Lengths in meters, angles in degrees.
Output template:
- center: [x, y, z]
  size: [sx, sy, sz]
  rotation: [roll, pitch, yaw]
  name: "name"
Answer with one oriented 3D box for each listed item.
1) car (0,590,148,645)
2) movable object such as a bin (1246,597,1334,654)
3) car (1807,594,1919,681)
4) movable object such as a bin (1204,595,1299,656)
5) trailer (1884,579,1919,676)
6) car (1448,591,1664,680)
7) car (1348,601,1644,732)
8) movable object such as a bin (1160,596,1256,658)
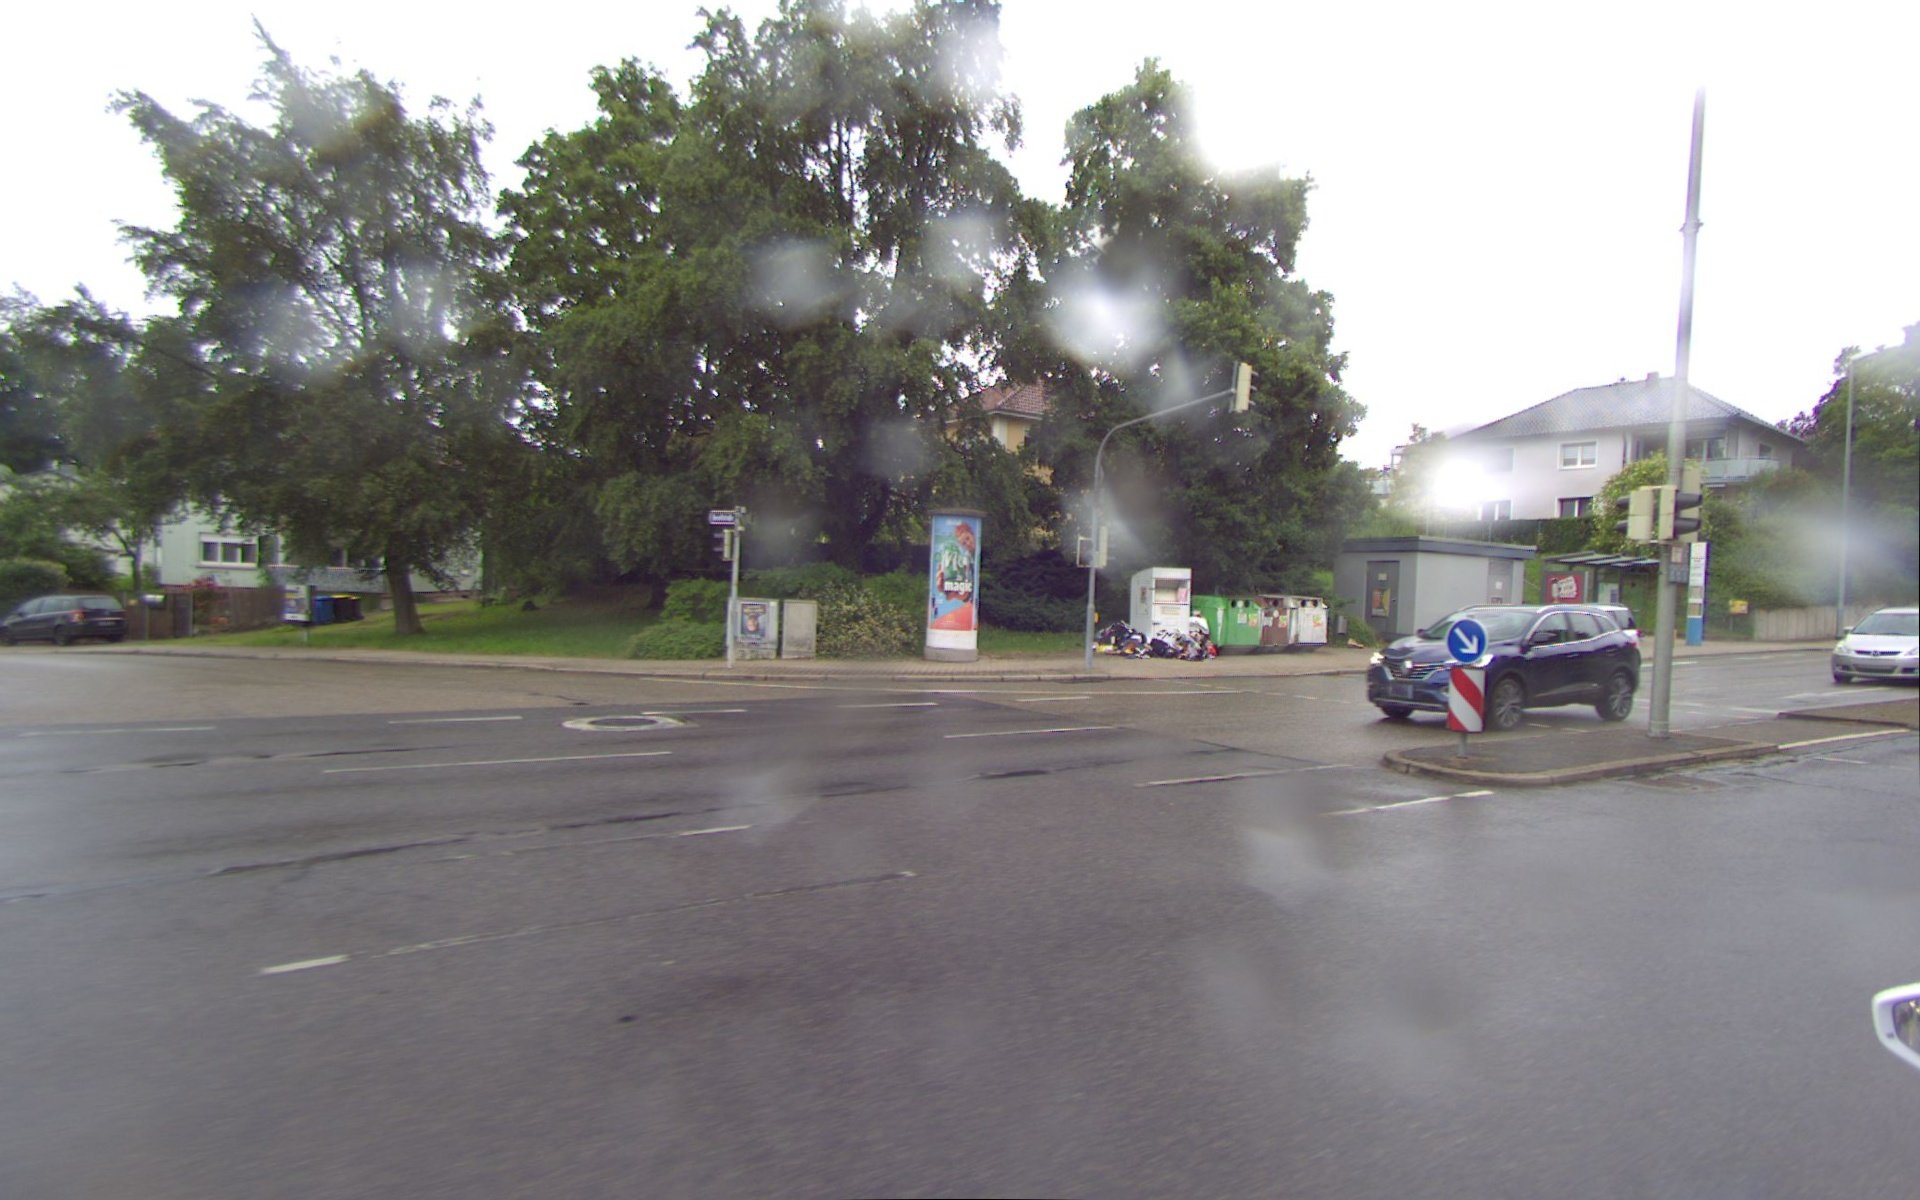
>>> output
- center: [-29.933, 0.582, 33.855]
  size: [4.111, 1.726, 1.940]
  rotation: [1, -1, 15]
  name: "car"
- center: [9.318, 0.690, 28.418]
  size: [1.326, 1.535, 2.050]
  rotation: [0, 0, -26]
  name: "movable object such as a bin"
- center: [20.202, 0.728, 21.487]
  size: [4.429, 1.705, 1.889]
  rotation: [0, 1, -32]
  name: "car"
- center: [8.025, 0.668, 27.756]
  size: [1.561, 1.590, 2.050]
  rotation: [0, 0, -27]
  name: "movable object such as a bin"
- center: [23.798, 0.661, 23.738]
  size: [3.990, 2.208, 1.886]
  rotation: [1, 0, -32]
  name: "trailer"
- center: [12.412, 0.740, 20.881]
  size: [4.409, 1.679, 1.817]
  rotation: [2, -1, -27]
  name: "car"
- center: [7.586, 0.859, 14.093]
  size: [4.337, 1.572, 1.830]
  rotation: [2, -1, -33]
  name: "car"
- center: [6.635, 0.687, 27.007]
  size: [1.561, 1.590, 2.050]
  rotation: [0, 0, -27]
  name: "movable object such as a bin"
